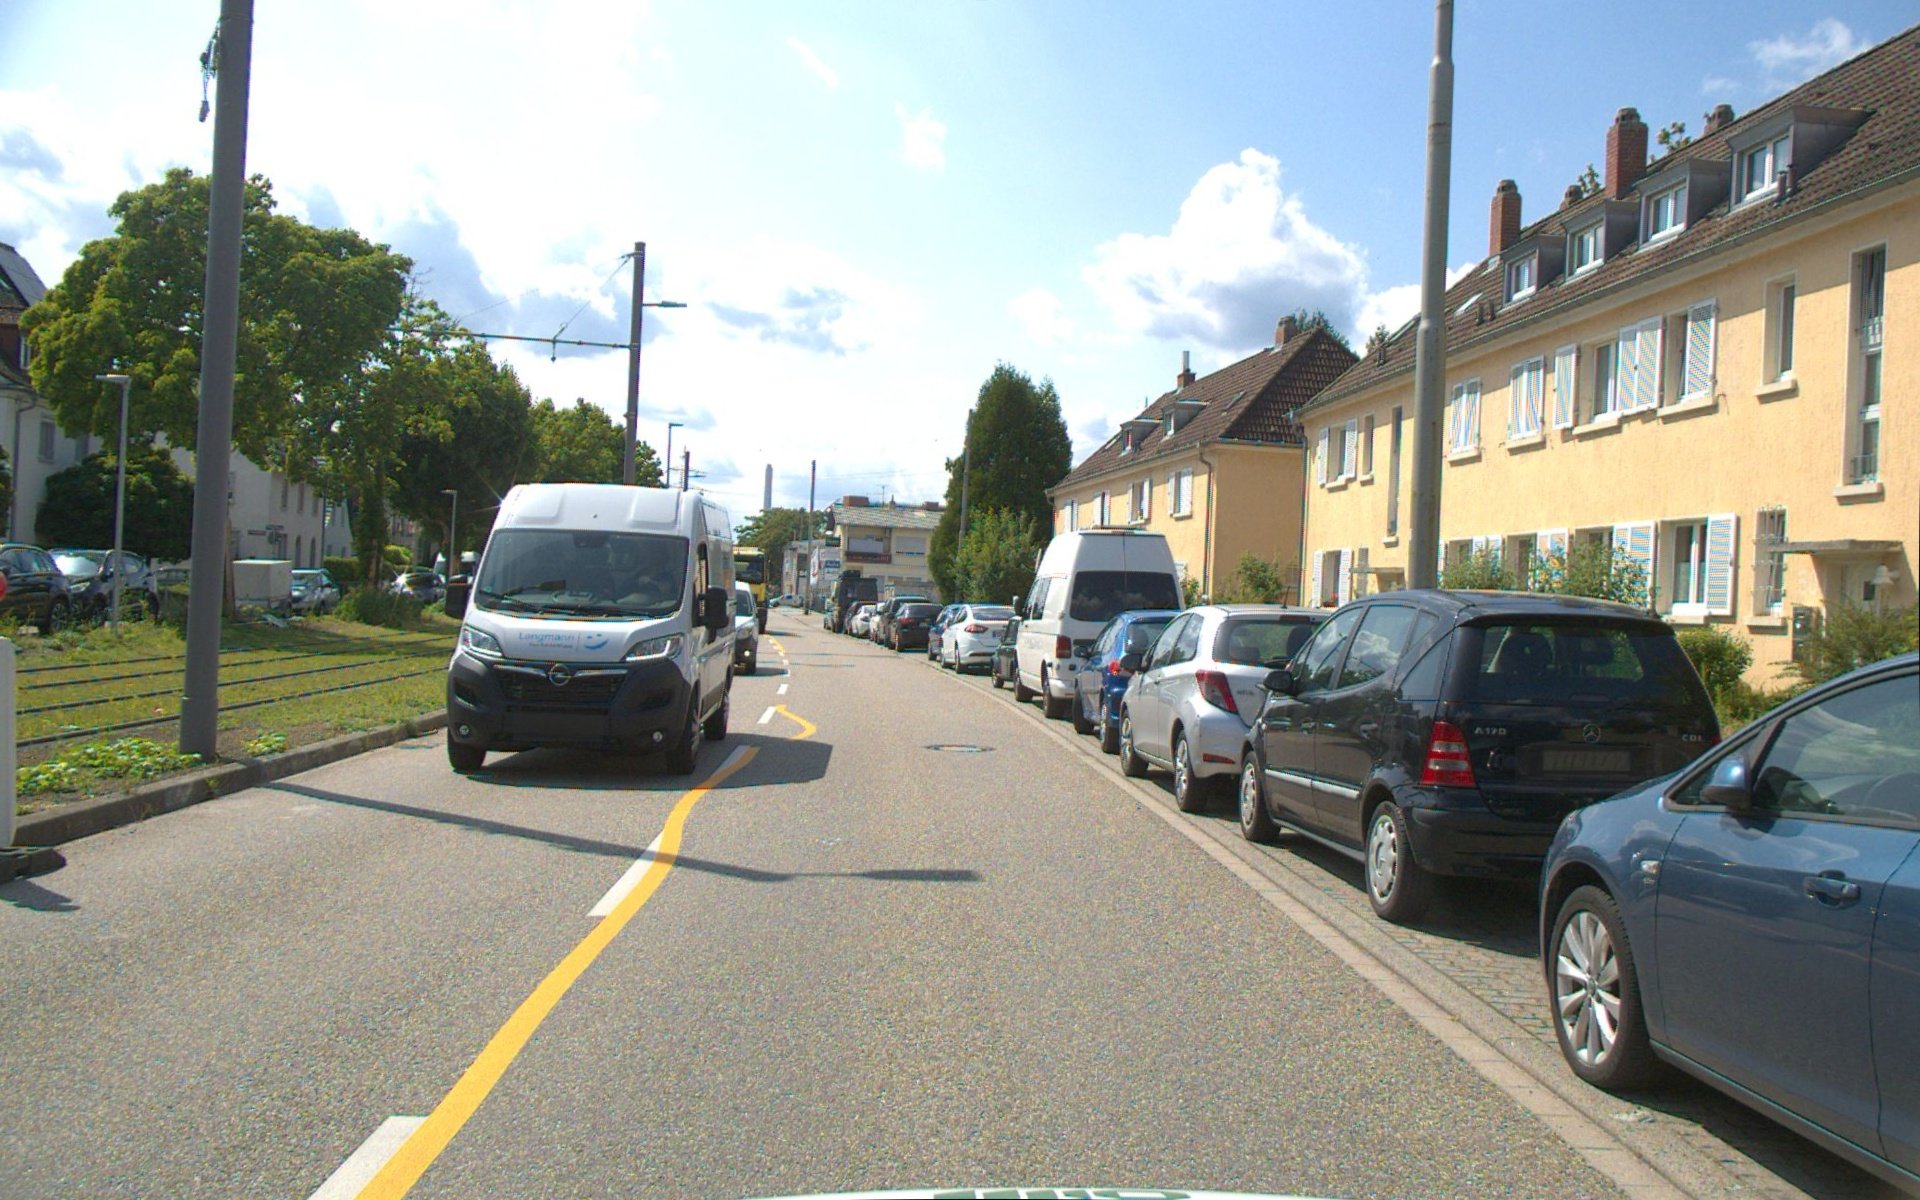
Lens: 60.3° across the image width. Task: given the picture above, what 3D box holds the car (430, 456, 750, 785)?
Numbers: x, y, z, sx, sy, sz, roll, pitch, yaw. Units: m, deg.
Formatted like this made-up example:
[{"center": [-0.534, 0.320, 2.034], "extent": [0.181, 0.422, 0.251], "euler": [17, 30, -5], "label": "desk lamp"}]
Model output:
[{"center": [-3.248, 0.166, 15.752], "extent": [2.061, 2.486, 5.566], "euler": [3, 0, -4], "label": "car"}]

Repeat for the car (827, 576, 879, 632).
[{"center": [-5.085, 0.159, 77.748], "extent": [1.923, 2.522, 6.048], "euler": [1, 0, -9], "label": "car"}]

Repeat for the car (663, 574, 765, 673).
[{"center": [-4.905, 0.434, 33.392], "extent": [1.701, 1.804, 4.304], "euler": [3, 0, -5], "label": "car"}]

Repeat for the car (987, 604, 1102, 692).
[{"center": [1.401, 0.791, 28.404], "extent": [1.316, 1.364, 3.281], "euler": [3, -1, -8], "label": "car"}]

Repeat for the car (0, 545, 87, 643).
[{"center": [-16.796, -0.113, 28.241], "extent": [1.776, 1.614, 4.561], "euler": [1, 0, -7], "label": "car"}]

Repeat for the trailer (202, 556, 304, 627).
[{"center": [-18.495, -0.219, 43.372], "extent": [1.536, 1.707, 3.367], "euler": [2, 0, -8], "label": "trailer"}]

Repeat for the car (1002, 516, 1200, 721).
[{"center": [1.847, 0.239, 23.541], "extent": [1.891, 2.524, 5.512], "euler": [2, 0, -4], "label": "car"}]

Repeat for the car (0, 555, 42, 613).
[{"center": [-28.284, -0.504, 46.474], "extent": [3.915, 1.598, 1.790], "euler": [2, 0, -11], "label": "car"}]

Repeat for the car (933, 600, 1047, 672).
[{"center": [0.585, 0.761, 36.330], "extent": [1.765, 1.484, 4.756], "euler": [1, -1, -8], "label": "car"}]

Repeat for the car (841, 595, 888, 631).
[{"center": [-4.160, 0.546, 71.731], "extent": [1.730, 1.529, 3.993], "euler": [1, 0, -8], "label": "car"}]

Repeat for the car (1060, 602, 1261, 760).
[{"center": [2.095, 0.806, 18.181], "extent": [1.505, 1.470, 3.735], "euler": [3, 0, -3], "label": "car"}]

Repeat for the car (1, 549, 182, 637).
[{"center": [-17.641, -0.138, 33.853], "extent": [1.662, 1.666, 4.562], "euler": [1, 0, -6], "label": "car"}]

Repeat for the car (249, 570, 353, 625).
[{"center": [-19.431, -0.080, 48.957], "extent": [1.695, 1.531, 4.561], "euler": [1, 0, -7], "label": "car"}]

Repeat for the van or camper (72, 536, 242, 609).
[{"center": [-38.390, -1.296, 79.256], "extent": [6.753, 3.180, 2.438], "euler": [2, 0, -9], "label": "van or camper"}]

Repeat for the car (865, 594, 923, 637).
[{"center": [-2.445, 0.554, 60.469], "extent": [1.730, 1.502, 3.993], "euler": [1, 0, -8], "label": "car"}]

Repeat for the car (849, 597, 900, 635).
[{"center": [-3.458, 0.633, 66.607], "extent": [1.730, 1.465, 3.993], "euler": [1, 0, -8], "label": "car"}]

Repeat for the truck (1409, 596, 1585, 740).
[{"center": [6.909, 0.843, 21.465], "extent": [1.319, 1.718, 2.439], "euler": [2, -1, -4], "label": "truck"}]

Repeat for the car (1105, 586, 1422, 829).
[{"center": [2.299, 0.747, 13.554], "extent": [1.604, 1.630, 4.027], "euler": [3, 0, -3], "label": "car"}]

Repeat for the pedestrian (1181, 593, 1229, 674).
[{"center": [5.203, 0.704, 35.210], "extent": [0.837, 1.680, 0.636], "euler": [3, 0, -3], "label": "pedestrian"}]

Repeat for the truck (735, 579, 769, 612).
[{"center": [-23.516, -0.484, 186.475], "extent": [3.162, 3.461, 11.327], "euler": [2, -1, -10], "label": "truck"}]

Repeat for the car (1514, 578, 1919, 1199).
[{"center": [2.906, 0.742, 3.862], "extent": [1.604, 1.508, 4.122], "euler": [3, 0, -3], "label": "car"}]

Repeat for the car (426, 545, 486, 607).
[{"center": [-23.832, -1.105, 78.473], "extent": [2.037, 2.769, 6.982], "euler": [1, 0, -12], "label": "car"}]

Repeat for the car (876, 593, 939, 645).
[{"center": [-1.798, 0.605, 55.605], "extent": [1.730, 1.672, 3.993], "euler": [1, 0, -8], "label": "car"}]

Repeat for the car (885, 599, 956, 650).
[{"center": [-1.232, 0.721, 50.509], "extent": [1.730, 1.442, 3.993], "euler": [1, 0, -8], "label": "car"}]

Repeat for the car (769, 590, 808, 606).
[{"center": [-21.465, -0.263, 207.158], "extent": [4.562, 1.854, 1.830], "euler": [3, 0, -13], "label": "car"}]

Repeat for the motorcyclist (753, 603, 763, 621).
[{"center": [-20.093, 1.212, 164.406], "extent": [0.867, 1.696, 1.107], "euler": [2, 0, -9], "label": "motorcyclist"}]

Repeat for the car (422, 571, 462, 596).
[{"center": [-34.713, -1.075, 110.938], "extent": [1.844, 1.580, 4.389], "euler": [2, -1, -9], "label": "car"}]

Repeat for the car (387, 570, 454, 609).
[{"center": [-22.068, -0.419, 67.801], "extent": [1.695, 1.531, 4.561], "euler": [1, 0, -7], "label": "car"}]

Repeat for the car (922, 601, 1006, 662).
[{"center": [0.046, 0.762, 41.717], "extent": [1.590, 1.442, 3.993], "euler": [1, 0, -8], "label": "car"}]

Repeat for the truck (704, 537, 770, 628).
[{"center": [-9.191, -0.693, 67.916], "extent": [2.512, 3.520, 7.136], "euler": [1, 0, -8], "label": "truck"}]

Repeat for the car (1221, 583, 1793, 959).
[{"center": [2.781, 0.767, 9.390], "extent": [1.604, 1.630, 3.927], "euler": [3, 0, -5], "label": "car"}]
